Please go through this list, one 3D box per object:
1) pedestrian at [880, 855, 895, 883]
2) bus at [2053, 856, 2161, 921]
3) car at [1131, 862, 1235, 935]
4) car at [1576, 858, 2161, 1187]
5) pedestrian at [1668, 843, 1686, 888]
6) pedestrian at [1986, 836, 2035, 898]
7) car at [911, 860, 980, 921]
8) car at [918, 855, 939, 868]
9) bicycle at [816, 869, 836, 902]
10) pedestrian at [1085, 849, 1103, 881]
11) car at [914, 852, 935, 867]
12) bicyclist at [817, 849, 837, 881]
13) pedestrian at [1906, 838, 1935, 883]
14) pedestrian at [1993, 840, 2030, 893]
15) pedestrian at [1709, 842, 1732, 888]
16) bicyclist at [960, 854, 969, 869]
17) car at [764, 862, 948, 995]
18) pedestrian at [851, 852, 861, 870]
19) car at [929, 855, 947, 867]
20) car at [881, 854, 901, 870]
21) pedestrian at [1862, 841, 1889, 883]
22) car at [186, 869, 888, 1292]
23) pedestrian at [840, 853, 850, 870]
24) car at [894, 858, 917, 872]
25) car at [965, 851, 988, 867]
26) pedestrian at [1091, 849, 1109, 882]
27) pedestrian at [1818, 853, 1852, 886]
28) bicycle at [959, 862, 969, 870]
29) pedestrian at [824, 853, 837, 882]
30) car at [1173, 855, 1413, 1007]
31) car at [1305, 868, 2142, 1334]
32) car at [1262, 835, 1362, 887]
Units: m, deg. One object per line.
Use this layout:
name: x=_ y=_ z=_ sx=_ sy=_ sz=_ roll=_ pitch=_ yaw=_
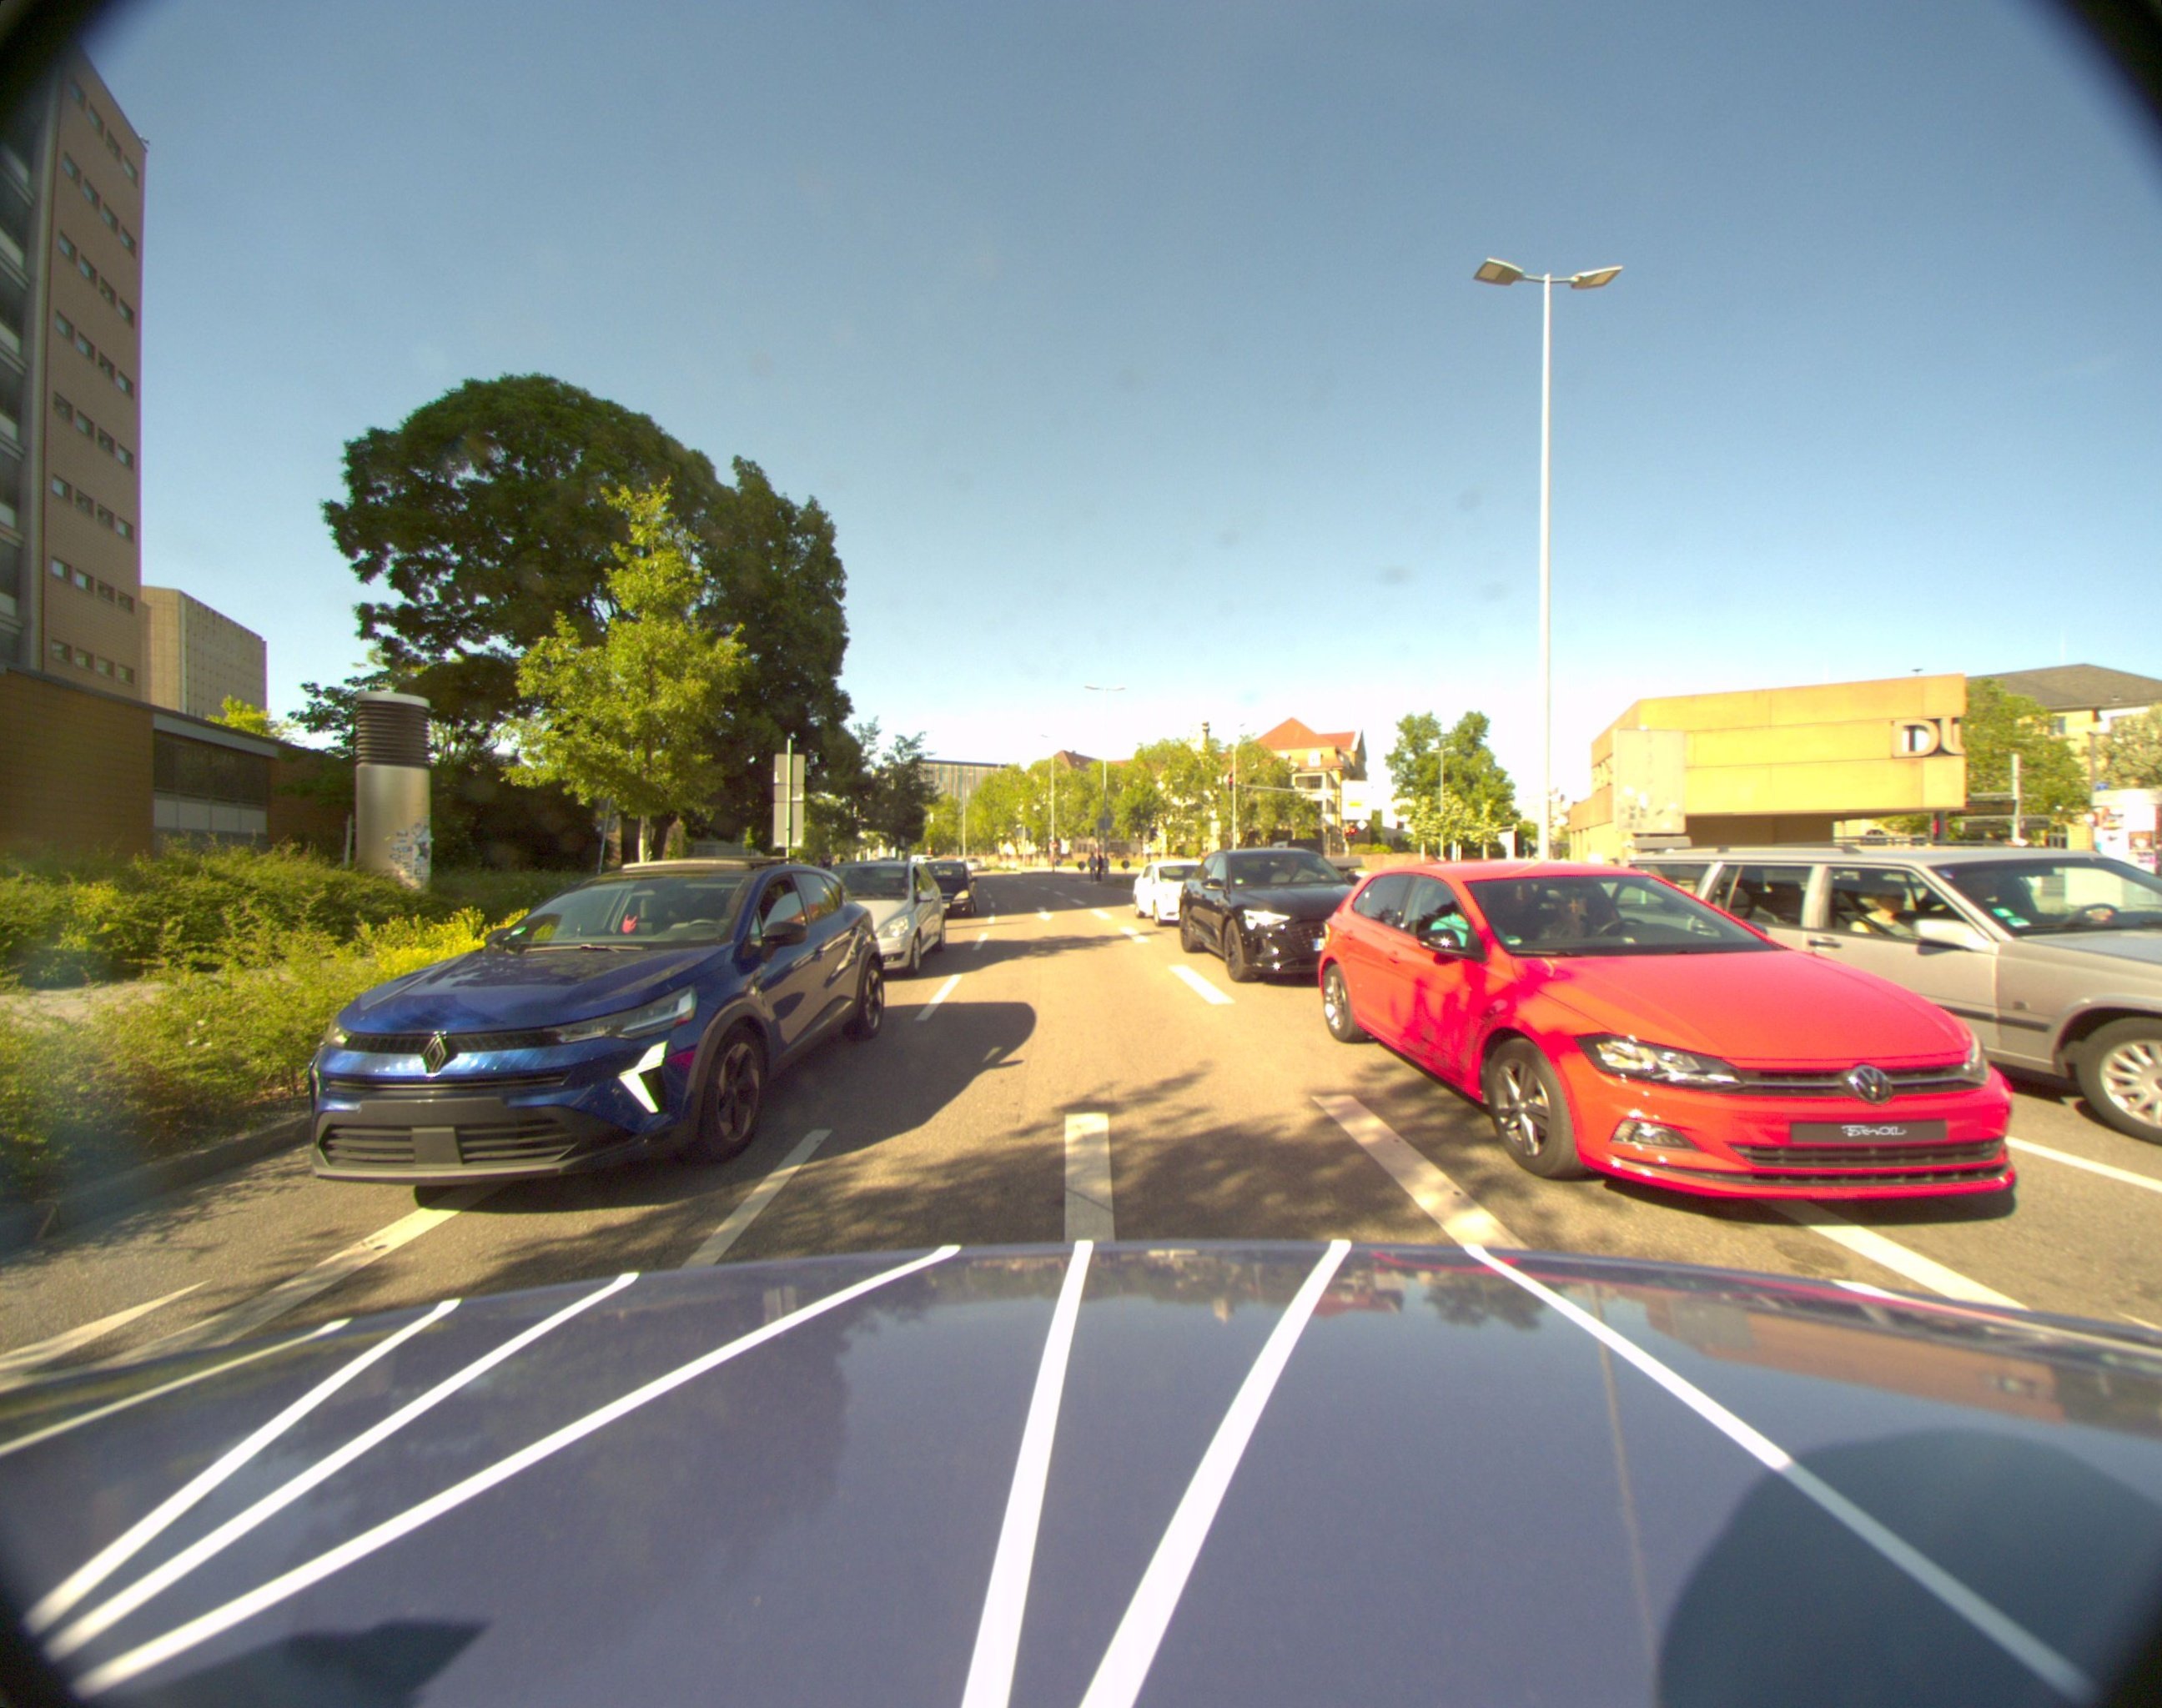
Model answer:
pedestrian: x=-11.400 y=0.868 z=44.707 sx=0.694 sy=1.594 sz=0.660 roll=0 pitch=0 yaw=-26
bus: x=21.635 y=0.666 z=14.115 sx=1.646 sy=1.234 sz=4.181 roll=-1 pitch=0 yaw=-5
car: x=2.263 y=0.952 z=17.779 sx=1.575 sy=1.410 sz=3.711 roll=-1 pitch=1 yaw=-6
car: x=5.769 y=0.788 z=5.022 sx=1.713 sy=1.464 sz=4.750 roll=-1 pitch=0 yaw=-3
pedestrian: x=23.978 y=0.466 z=30.571 sx=0.467 sy=1.766 sz=0.647 roll=0 pitch=1 yaw=29
pedestrian: x=27.232 y=0.367 z=22.271 sx=0.646 sy=1.778 sz=0.667 roll=-2 pitch=1 yaw=-13
car: x=-3.805 y=0.976 z=21.812 sx=1.651 sy=1.601 sz=3.488 roll=0 pitch=0 yaw=-6
car: x=-16.938 y=0.868 z=84.371 sx=1.754 sy=1.370 sz=3.568 roll=-1 pitch=0 yaw=-21
bicycle: x=-10.346 y=1.266 z=30.866 sx=0.693 sy=1.211 sz=1.832 roll=2 pitch=0 yaw=-17
pedestrian: x=0.735 y=0.629 z=44.499 sx=0.887 sy=1.814 sz=0.776 roll=-2 pitch=1 yaw=-7
car: x=-21.769 y=0.784 z=105.803 sx=1.790 sy=2.002 sz=4.223 roll=-2 pitch=1 yaw=-26
bicyclist: x=-10.293 y=0.444 z=30.841 sx=0.723 sy=1.271 sz=0.906 roll=2 pitch=0 yaw=-17
pedestrian: x=33.047 y=0.266 z=29.918 sx=0.645 sy=1.766 sz=0.468 roll=-1 pitch=1 yaw=-4
pedestrian: x=31.252 y=0.406 z=25.522 sx=0.644 sy=1.766 sz=0.469 roll=0 pitch=1 yaw=21
pedestrian: x=24.613 y=0.413 z=29.253 sx=0.644 sy=1.766 sz=0.618 roll=0 pitch=1 yaw=42
bicyclist: x=-12.247 y=0.830 z=79.729 sx=0.696 sy=1.549 sz=0.814 roll=-2 pitch=1 yaw=-23
car: x=-3.166 y=0.951 z=11.556 sx=1.786 sy=1.615 sz=4.042 roll=0 pitch=0 yaw=-3
pedestrian: x=-24.681 y=0.779 z=83.243 sx=0.823 sy=1.906 sz=0.770 roll=-2 pitch=1 yaw=-29
car: x=-18.560 y=0.909 z=98.641 sx=1.598 sy=1.596 sz=3.066 roll=-1 pitch=0 yaw=-26
car: x=-21.817 y=0.895 z=87.106 sx=1.830 sy=1.842 sz=3.745 roll=0 pitch=0 yaw=-21
pedestrian: x=33.266 y=0.326 z=31.809 sx=0.645 sy=1.766 sz=0.468 roll=-1 pitch=1 yaw=-4
car: x=-2.684 y=0.945 z=5.072 sx=1.705 sy=1.596 sz=4.084 roll=-1 pitch=0 yaw=0
pedestrian: x=-25.797 y=0.820 z=83.031 sx=0.823 sy=1.906 sz=0.770 roll=-2 pitch=1 yaw=-29
car: x=-18.579 y=1.147 z=80.482 sx=1.754 sy=1.467 sz=3.567 roll=-2 pitch=1 yaw=-23
car: x=-11.597 y=0.568 z=84.310 sx=1.527 sy=1.669 sz=3.374 roll=-2 pitch=0 yaw=-24
pedestrian: x=1.106 y=0.638 z=43.274 sx=0.757 sy=1.814 sz=0.775 roll=-2 pitch=1 yaw=-17
pedestrian: x=30.138 y=0.611 z=30.370 sx=0.645 sy=1.303 sz=0.763 roll=-1 pitch=0 yaw=10
bicycle: x=-12.242 y=1.262 z=79.714 sx=0.591 sy=0.884 sz=1.651 roll=-2 pitch=0 yaw=-23
pedestrian: x=-14.114 y=0.758 z=42.776 sx=0.693 sy=1.594 sz=0.660 roll=0 pitch=0 yaw=-18
car: x=2.565 y=0.829 z=10.421 sx=1.859 sy=1.606 sz=4.452 roll=0 pitch=0 yaw=-3
car: x=2.773 y=0.878 z=4.520 sx=1.674 sy=1.464 sz=3.853 roll=-2 pitch=0 yaw=-1
car: x=11.088 y=0.302 z=37.062 sx=2.117 sy=2.300 sz=6.209 roll=-1 pitch=0 yaw=-10
